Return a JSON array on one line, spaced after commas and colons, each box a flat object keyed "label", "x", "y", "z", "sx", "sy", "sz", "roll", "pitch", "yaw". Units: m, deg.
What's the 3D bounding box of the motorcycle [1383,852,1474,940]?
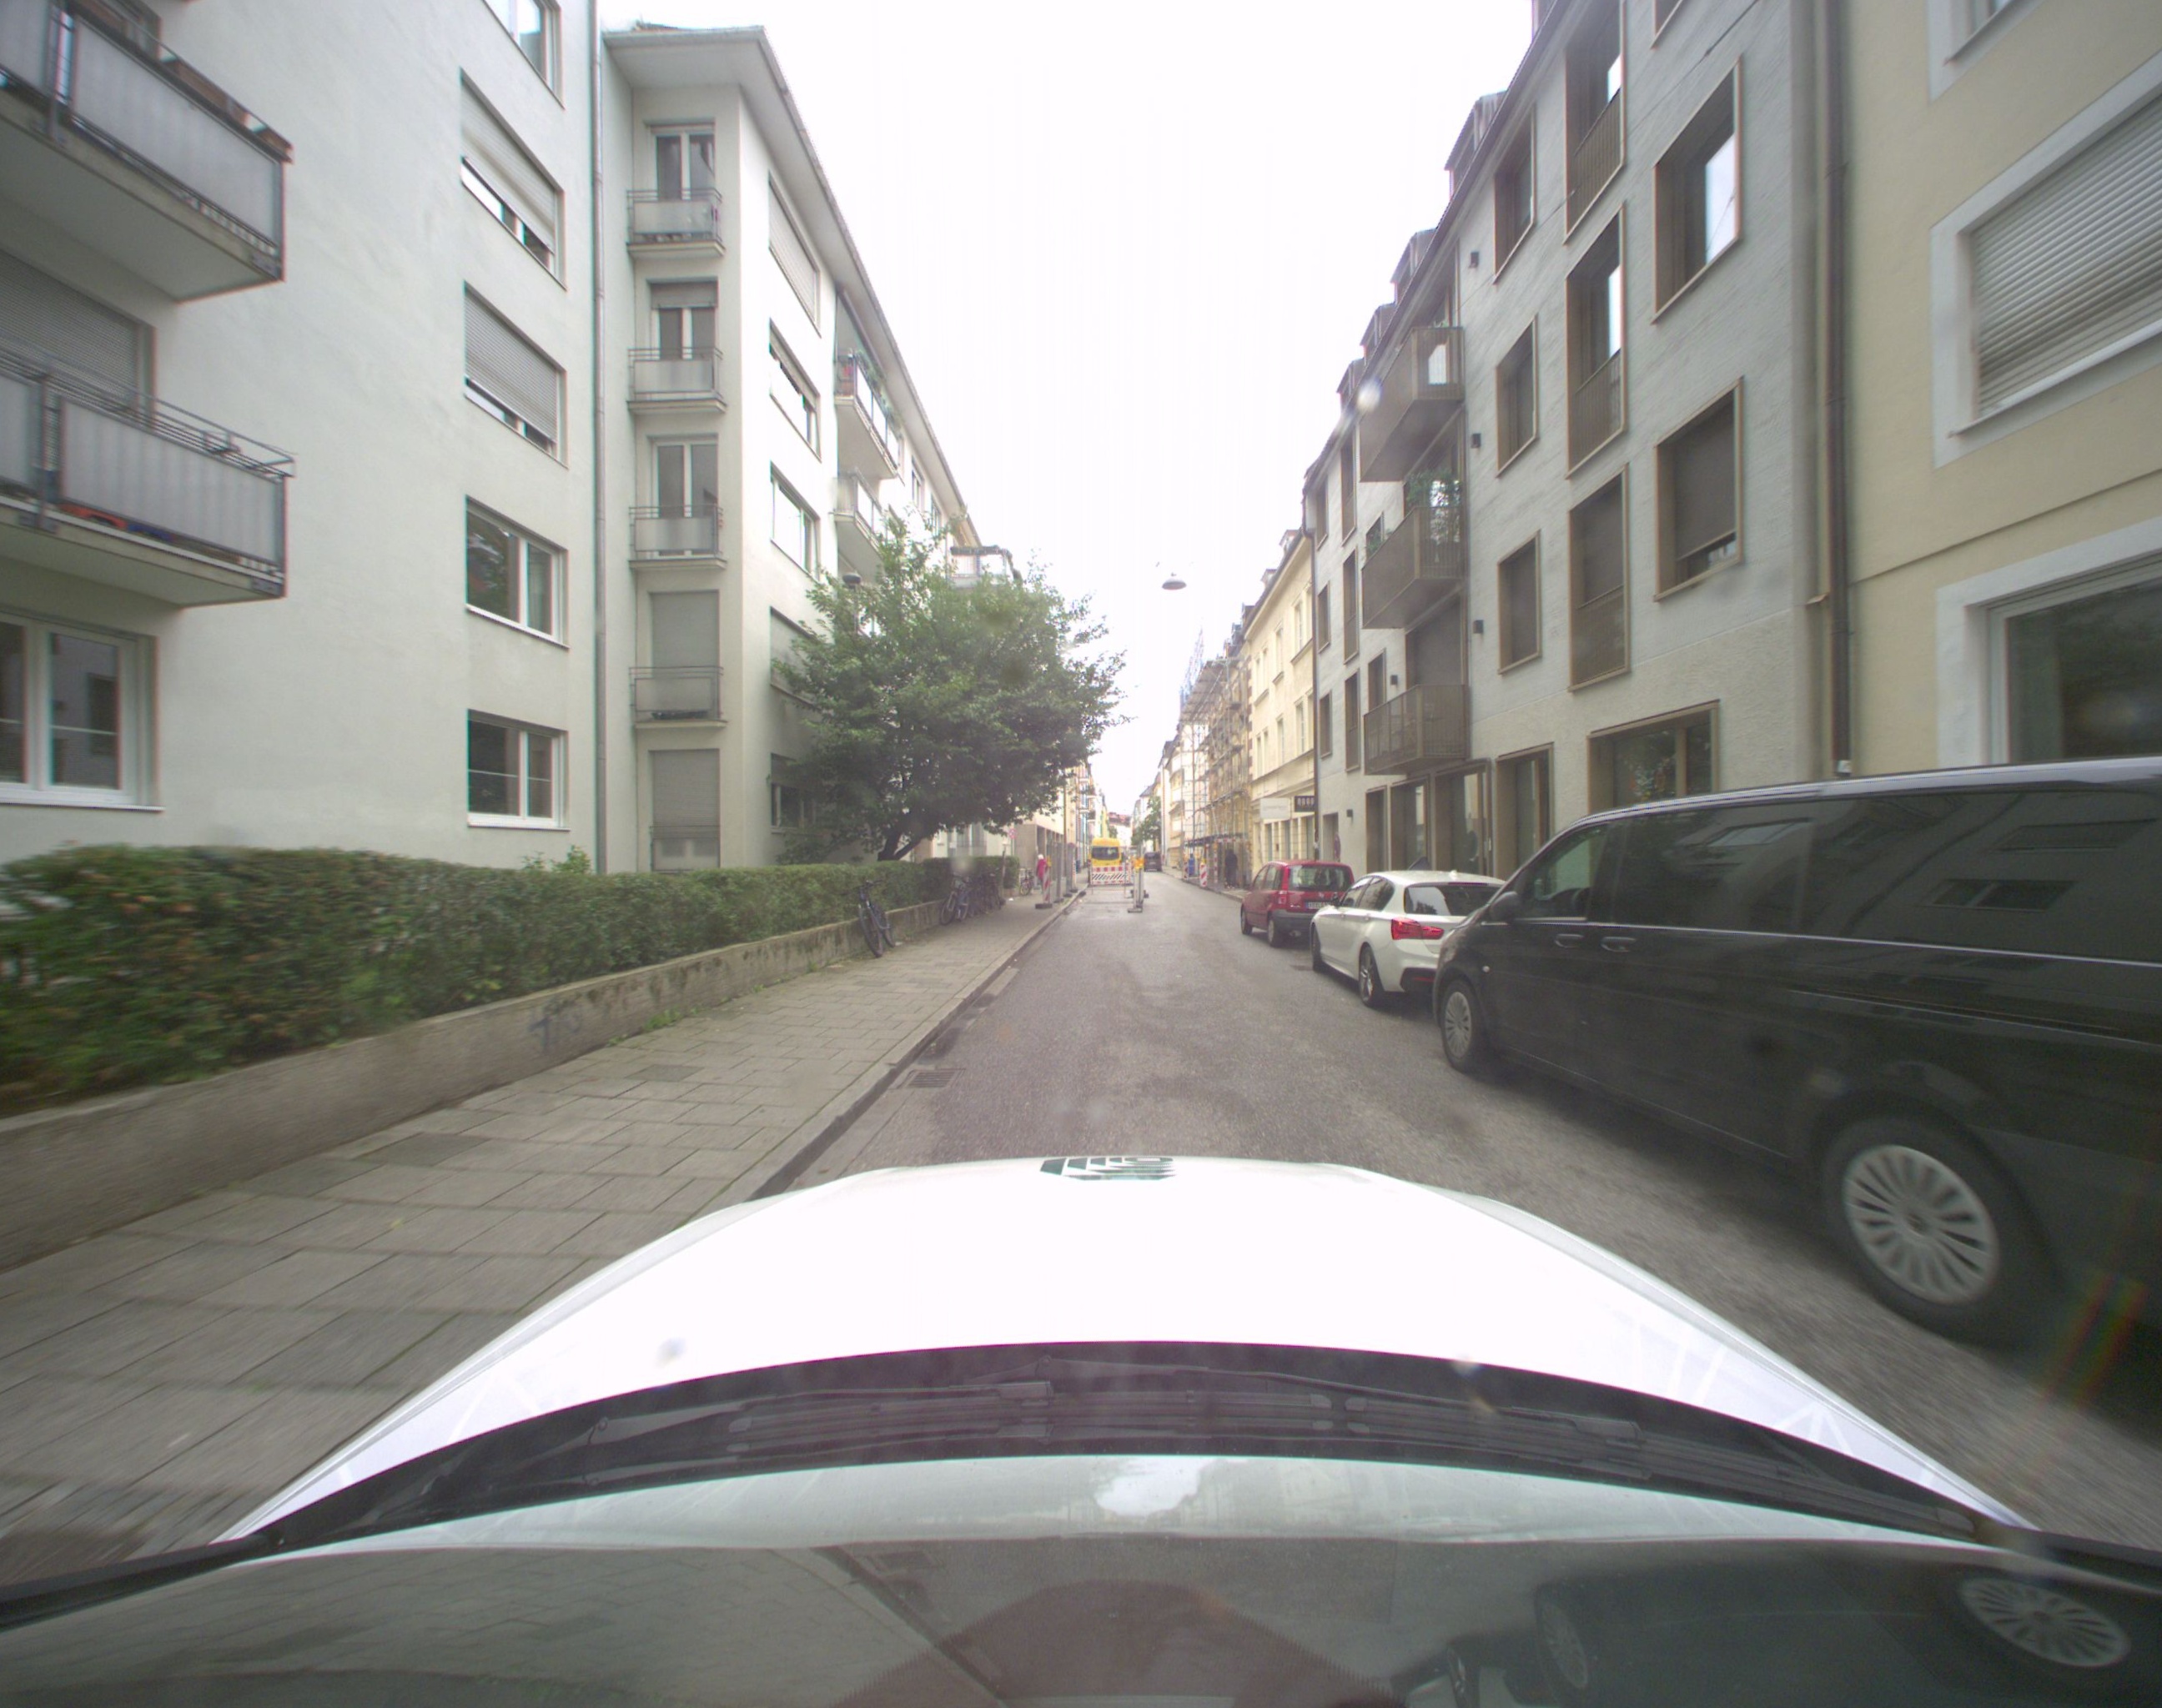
[{"label": "motorcycle", "x": 6.120, "y": 0.693, "z": 14.471, "sx": 0.801, "sy": 1.423, "sz": 1.934, "roll": -3, "pitch": 0, "yaw": 3}]

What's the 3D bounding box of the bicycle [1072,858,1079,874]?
[{"label": "bicycle", "x": -0.470, "y": 0.962, "z": 64.858, "sx": 0.380, "sy": 1.188, "sz": 2.132, "roll": 0, "pitch": 1, "yaw": -5}]

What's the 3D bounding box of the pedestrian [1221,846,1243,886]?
[{"label": "pedestrian", "x": 6.889, "y": 0.549, "z": 37.271, "sx": 0.727, "sy": 1.752, "sz": 0.988, "roll": -4, "pitch": 0, "yaw": 2}]

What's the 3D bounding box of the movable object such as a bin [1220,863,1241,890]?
[{"label": "movable object such as a bin", "x": 6.940, "y": 1.044, "z": 37.934, "sx": 0.727, "sy": 1.141, "sz": 0.988, "roll": -5, "pitch": 0, "yaw": 1}]

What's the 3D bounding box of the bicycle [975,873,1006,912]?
[{"label": "bicycle", "x": -2.396, "y": 1.003, "z": 21.667, "sx": 0.441, "sy": 0.978, "sz": 1.855, "roll": 2, "pitch": -1, "yaw": 4}]

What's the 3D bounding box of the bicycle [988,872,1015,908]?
[{"label": "bicycle", "x": -2.285, "y": 1.019, "z": 23.531, "sx": 0.441, "sy": 0.978, "sz": 1.817, "roll": 2, "pitch": -1, "yaw": 4}]

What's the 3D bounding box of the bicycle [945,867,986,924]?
[{"label": "bicycle", "x": -2.482, "y": 0.875, "z": 17.640, "sx": 0.486, "sy": 1.151, "sz": 1.700, "roll": 2, "pitch": -1, "yaw": 4}]

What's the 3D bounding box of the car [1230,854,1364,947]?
[{"label": "car", "x": 3.998, "y": 0.785, "z": 15.707, "sx": 1.764, "sy": 1.524, "sz": 4.071, "roll": 1, "pitch": 0, "yaw": 4}]

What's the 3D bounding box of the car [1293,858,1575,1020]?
[{"label": "car", "x": 3.885, "y": 0.807, "z": 9.854, "sx": 1.760, "sy": 1.461, "sz": 4.385, "roll": 1, "pitch": 0, "yaw": 4}]

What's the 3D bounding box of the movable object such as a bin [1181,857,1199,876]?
[{"label": "movable object such as a bin", "x": 7.932, "y": 0.902, "z": 59.266, "sx": 1.078, "sy": 1.346, "sz": 1.323, "roll": -4, "pitch": 0, "yaw": 15}]

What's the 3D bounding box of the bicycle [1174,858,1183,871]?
[{"label": "bicycle", "x": 8.986, "y": 0.949, "z": 74.764, "sx": 0.635, "sy": 1.153, "sz": 1.917, "roll": -3, "pitch": 0, "yaw": 3}]

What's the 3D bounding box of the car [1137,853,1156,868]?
[{"label": "car", "x": 7.339, "y": 0.733, "z": 91.606, "sx": 1.887, "sy": 1.641, "sz": 4.323, "roll": -1, "pitch": 0, "yaw": 2}]

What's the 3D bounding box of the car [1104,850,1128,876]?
[{"label": "car", "x": 2.785, "y": 0.679, "z": 64.943, "sx": 1.720, "sy": 1.897, "sz": 5.512, "roll": -2, "pitch": 0, "yaw": 2}]

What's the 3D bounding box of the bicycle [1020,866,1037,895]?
[{"label": "bicycle", "x": -2.005, "y": 1.014, "z": 31.473, "sx": 0.375, "sy": 1.063, "sz": 1.599, "roll": 5, "pitch": 0, "yaw": 3}]

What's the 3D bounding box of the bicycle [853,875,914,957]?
[{"label": "bicycle", "x": -2.917, "y": 0.880, "z": 12.190, "sx": 0.345, "sy": 1.072, "sz": 1.781, "roll": 3, "pitch": 0, "yaw": 3}]

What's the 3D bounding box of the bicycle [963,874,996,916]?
[{"label": "bicycle", "x": -2.489, "y": 0.993, "z": 20.107, "sx": 0.434, "sy": 0.978, "sz": 1.700, "roll": 2, "pitch": -1, "yaw": 4}]

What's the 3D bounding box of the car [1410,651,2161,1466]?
[{"label": "car", "x": 3.631, "y": 0.512, "z": 4.081, "sx": 1.984, "sy": 1.977, "sz": 4.884, "roll": 1, "pitch": 0, "yaw": 0}]

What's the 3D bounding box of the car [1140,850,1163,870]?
[{"label": "car", "x": 7.032, "y": 0.625, "z": 81.715, "sx": 1.986, "sy": 1.932, "sz": 4.662, "roll": 1, "pitch": 0, "yaw": 2}]

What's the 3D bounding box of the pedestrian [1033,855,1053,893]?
[{"label": "pedestrian", "x": -1.535, "y": 0.803, "z": 33.009, "sx": 0.635, "sy": 1.532, "sz": 0.748, "roll": -2, "pitch": 0, "yaw": 4}]

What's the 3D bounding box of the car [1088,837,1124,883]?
[{"label": "car", "x": 1.516, "y": 0.354, "z": 49.797, "sx": 1.986, "sy": 2.578, "sz": 6.739, "roll": -1, "pitch": 0, "yaw": 2}]
